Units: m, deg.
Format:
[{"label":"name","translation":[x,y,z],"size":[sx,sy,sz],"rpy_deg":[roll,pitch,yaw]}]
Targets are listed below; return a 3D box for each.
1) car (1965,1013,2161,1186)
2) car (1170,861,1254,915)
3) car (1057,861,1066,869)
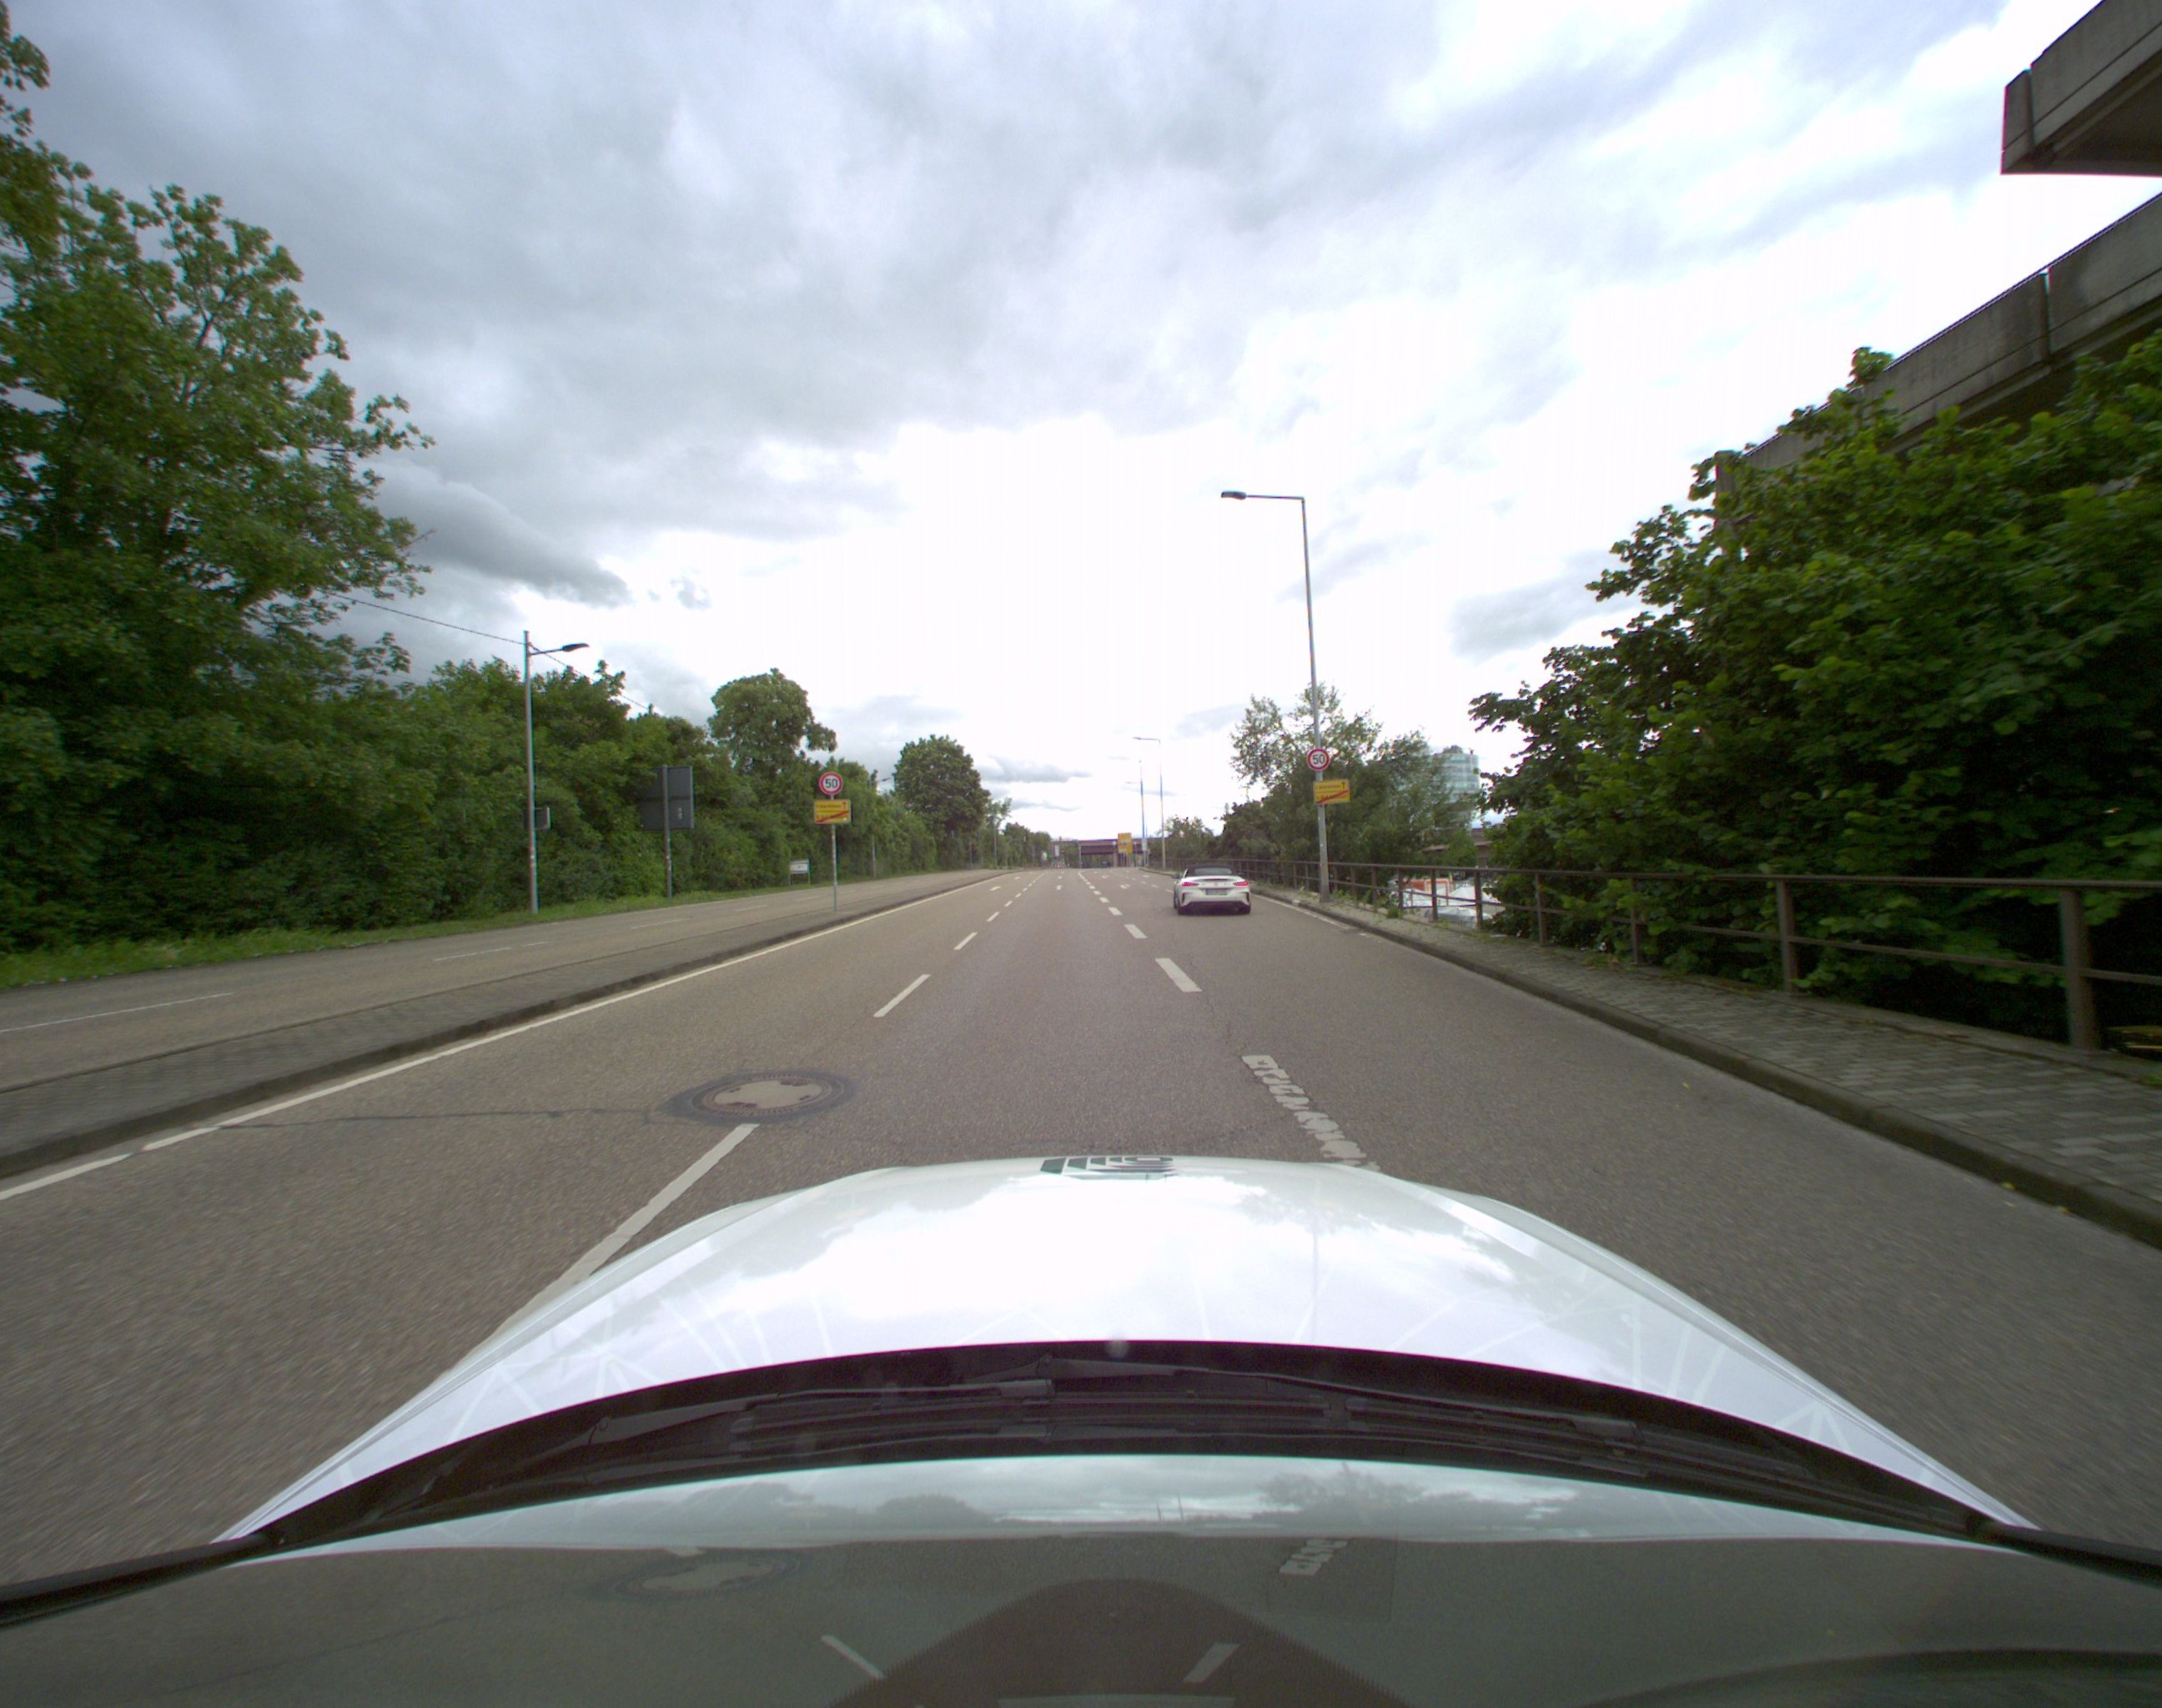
[{"label":"car","translation":[16.172,3.397,11.767],"size":[4.734,1.785,1.997],"rpy_deg":[-2,-2,-3]},{"label":"car","translation":[3.435,0.907,22.031],"size":[1.867,1.309,3.876],"rpy_deg":[-1,-2,4]},{"label":"car","translation":[-4.226,2.455,177.703],"size":[1.764,1.633,3.826],"rpy_deg":[0,-1,2]}]
